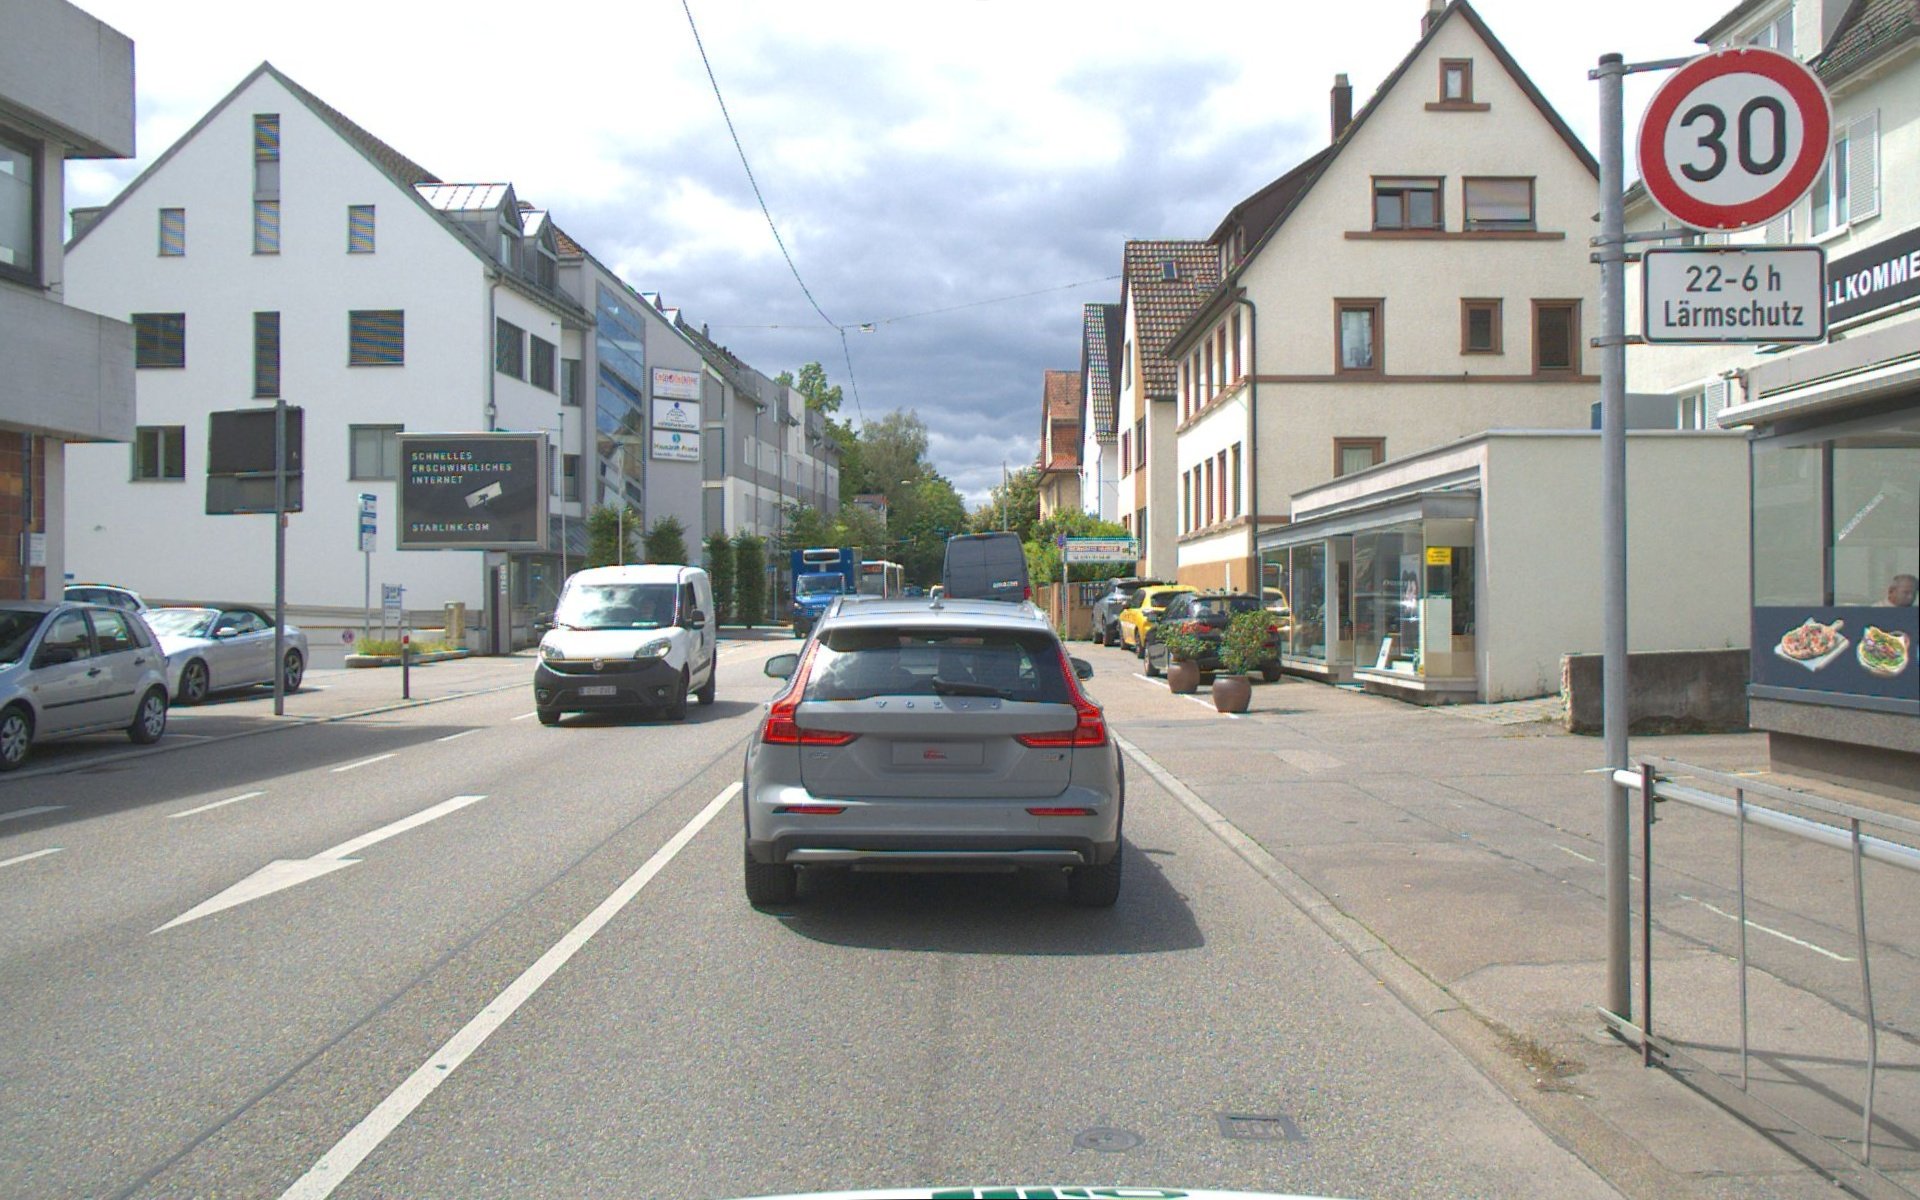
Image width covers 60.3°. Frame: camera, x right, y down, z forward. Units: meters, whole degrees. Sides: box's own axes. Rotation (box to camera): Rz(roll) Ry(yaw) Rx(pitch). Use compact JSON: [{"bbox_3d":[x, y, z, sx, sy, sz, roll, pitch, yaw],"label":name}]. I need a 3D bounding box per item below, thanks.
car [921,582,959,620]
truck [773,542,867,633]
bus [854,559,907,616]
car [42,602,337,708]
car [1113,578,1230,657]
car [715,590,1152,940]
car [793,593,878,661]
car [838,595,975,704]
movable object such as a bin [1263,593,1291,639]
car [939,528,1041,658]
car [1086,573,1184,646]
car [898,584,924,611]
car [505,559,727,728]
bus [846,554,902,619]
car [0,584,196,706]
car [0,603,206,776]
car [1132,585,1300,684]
[{"bbox_3d":[-1.108,0.035,92.857,1.952,2.049,4.001,0,0,1],"label":"car"},{"bbox_3d":[-5.139,-0.441,61.967,2.795,3.147,8.089,-1,0,0],"label":"truck"},{"bbox_3d":[-4.576,-0.715,96.976,2.660,3.219,8.068,-1,0,0],"label":"bus"},{"bbox_3d":[-11.311,0.743,24.732,1.910,1.381,4.857,-1,0,3],"label":"car"},{"bbox_3d":[4.562,0.338,36.238,1.839,1.472,4.306,-1,2,-2],"label":"car"},{"bbox_3d":[-0.071,0.692,9.061,1.857,1.479,3.969,0,0,1],"label":"car"},{"bbox_3d":[-2.825,0.583,38.258,1.859,1.472,3.966,0,0,-3],"label":"car"},{"bbox_3d":[-0.712,0.675,24.739,1.857,1.472,3.969,0,0,1],"label":"car"},{"bbox_3d":[6.559,0.327,34.216,0.490,0.941,0.598,-1,0,3],"label":"movable object such as a bin"},{"bbox_3d":[0.655,-0.169,39.211,2.206,2.844,5.569,-1,0,0],"label":"car"},{"bbox_3d":[4.270,0.205,41.022,1.823,1.640,4.585,-2,0,-1],"label":"car"},{"bbox_3d":[-4.047,-0.214,136.810,2.063,2.158,4.764,-1,0,-1],"label":"car"},{"bbox_3d":[-4.143,0.472,20.628,1.906,1.852,4.277,-1,0,-1],"label":"car"},{"bbox_3d":[-4.468,-0.684,87.820,2.628,3.219,10.182,-1,0,-1],"label":"bus"},{"bbox_3d":[-13.882,0.650,25.004,1.910,1.647,4.933,-3,0,6],"label":"car"},{"bbox_3d":[-9.043,0.773,15.765,1.686,1.447,4.149,1,0,2],"label":"car"},{"bbox_3d":[4.179,0.517,27.724,1.929,1.473,4.533,-1,0,-2],"label":"car"}]
